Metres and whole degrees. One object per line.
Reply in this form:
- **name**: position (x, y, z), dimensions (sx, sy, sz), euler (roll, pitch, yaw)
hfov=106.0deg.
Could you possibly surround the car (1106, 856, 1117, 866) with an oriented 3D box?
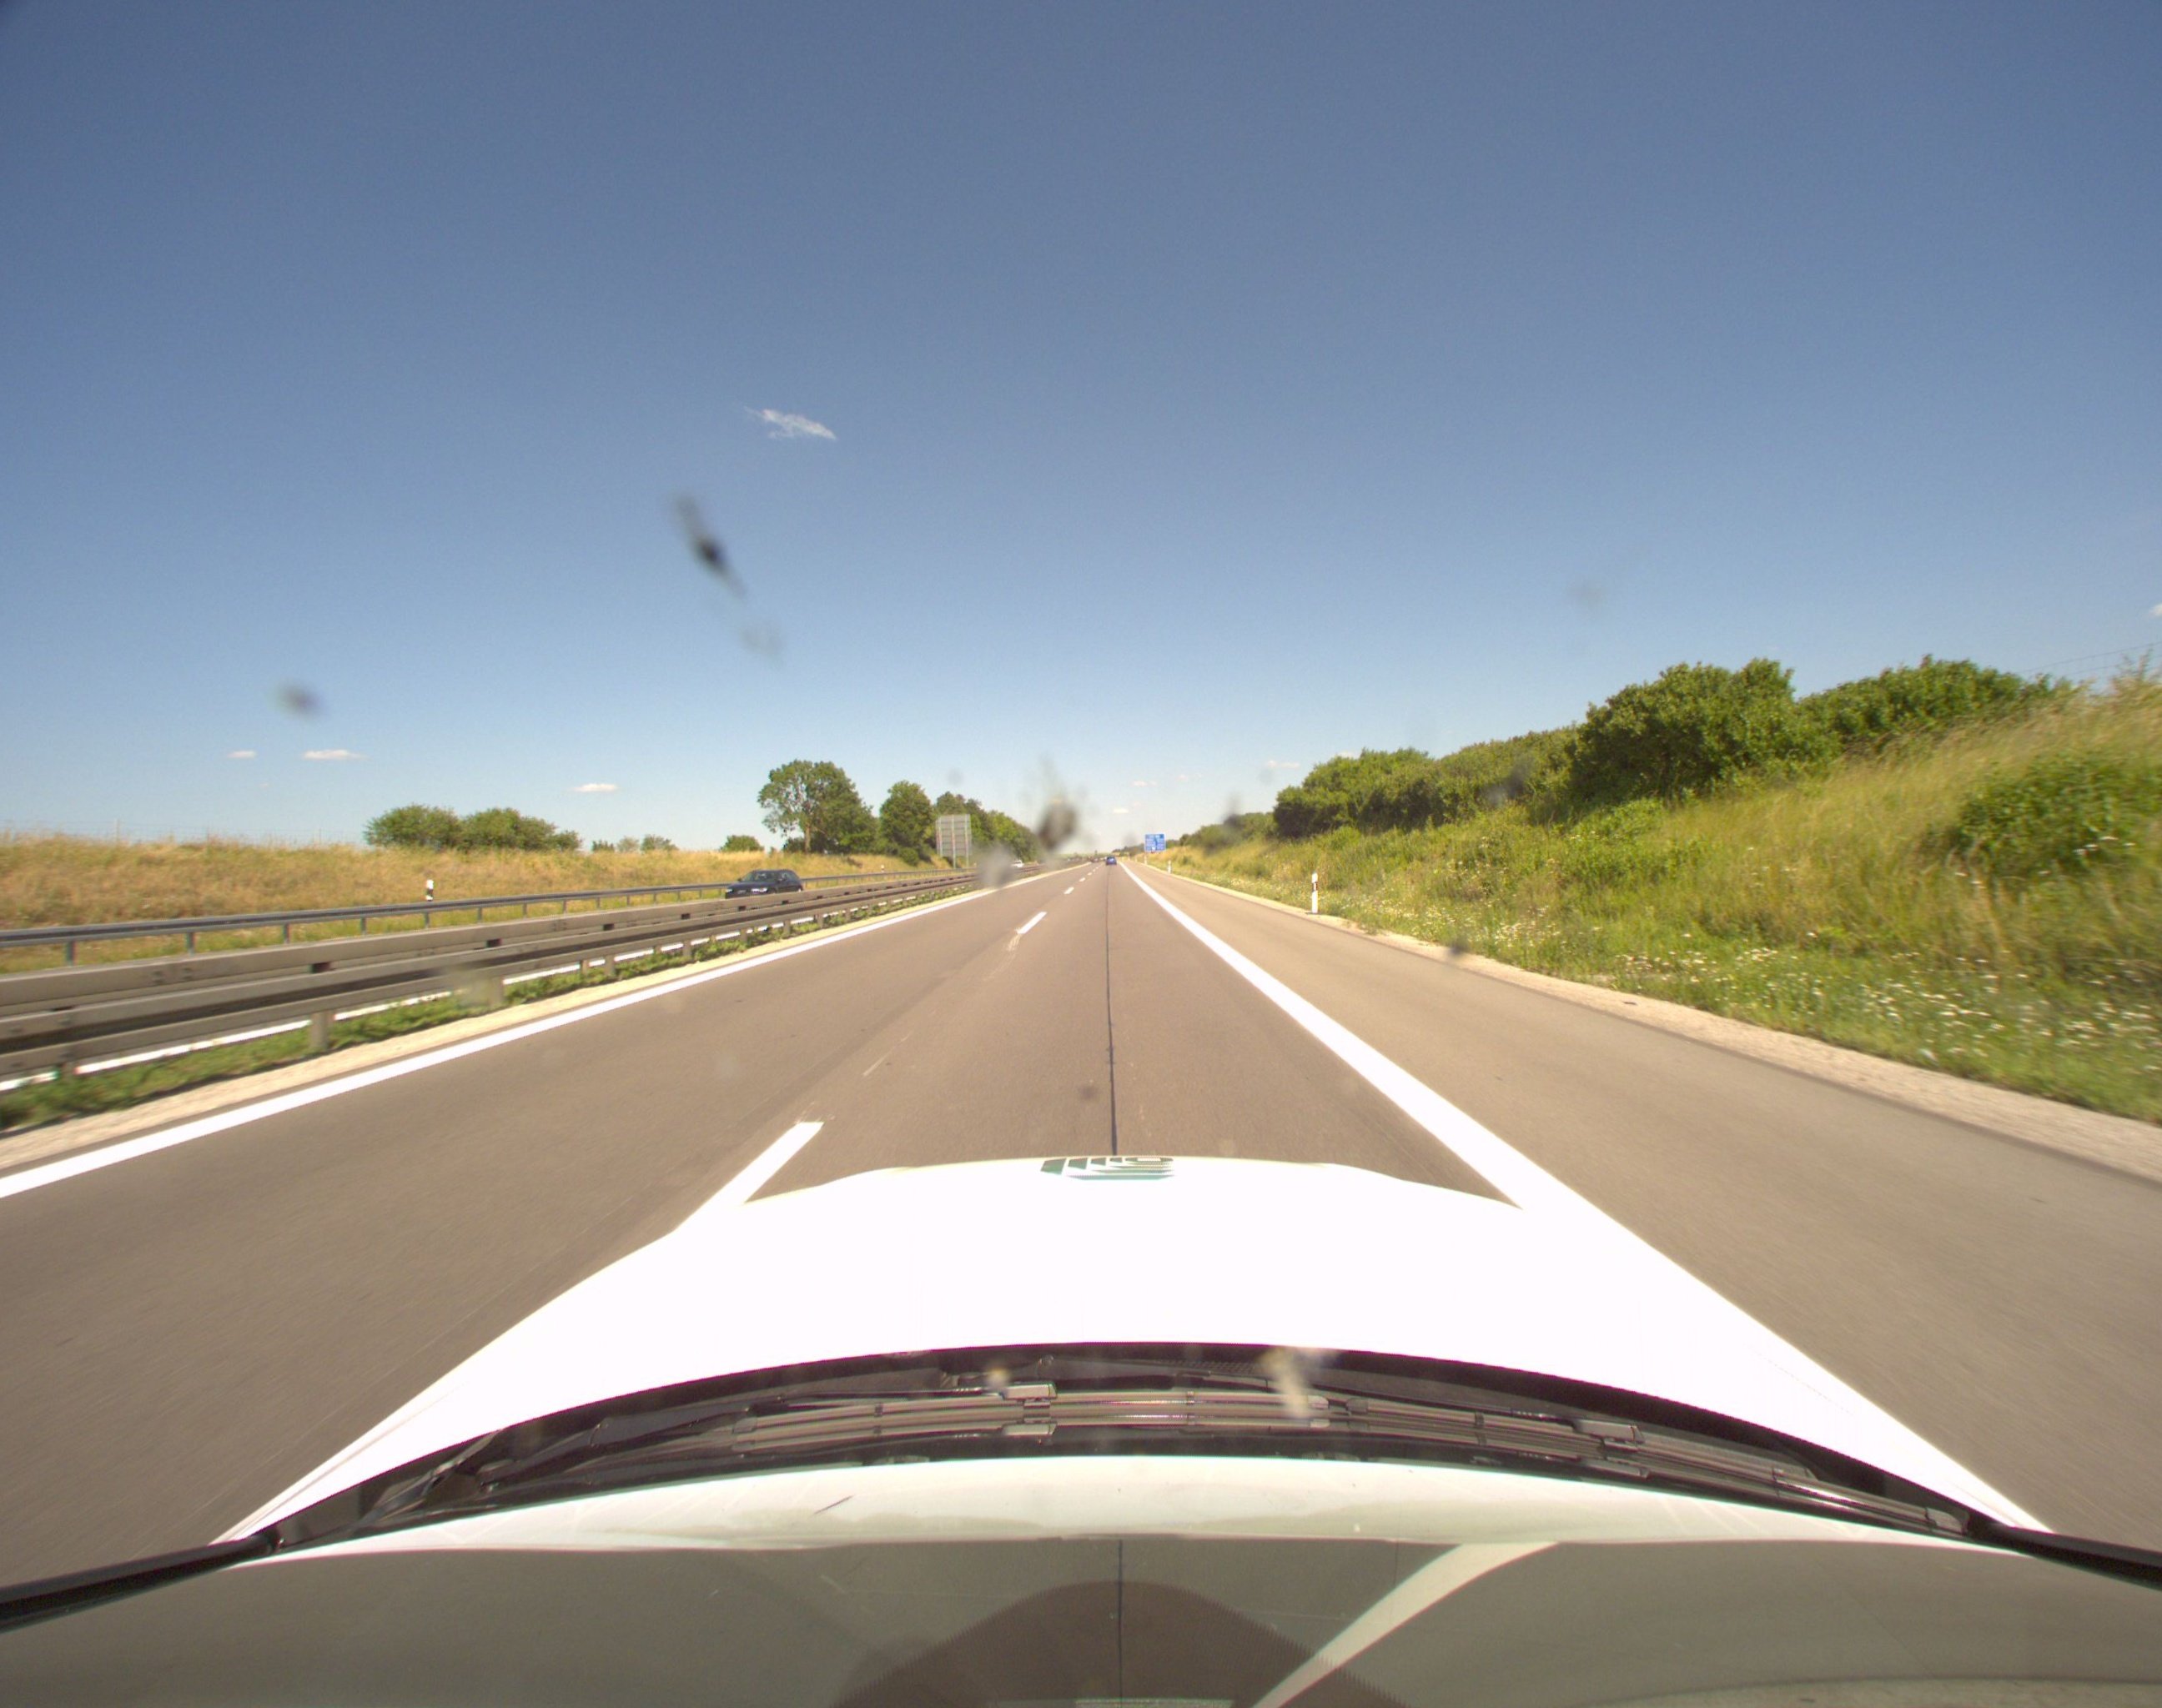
- **car**: position (4.873, 1.141, 130.853), dimensions (1.669, 1.453, 3.595), euler (-4, -1, 3)

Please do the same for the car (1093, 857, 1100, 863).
- **car**: position (4.079, 1.520, 214.747), dimensions (1.822, 1.453, 3.594), euler (-4, -1, 3)

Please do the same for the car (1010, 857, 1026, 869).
- **car**: position (-10.205, 1.498, 131.525), dimensions (1.937, 1.845, 5.187), euler (-2, 0, 2)

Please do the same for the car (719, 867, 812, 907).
- **car**: position (-13.301, 1.355, 34.718), dimensions (1.718, 1.467, 5.243), euler (-2, 0, 2)
